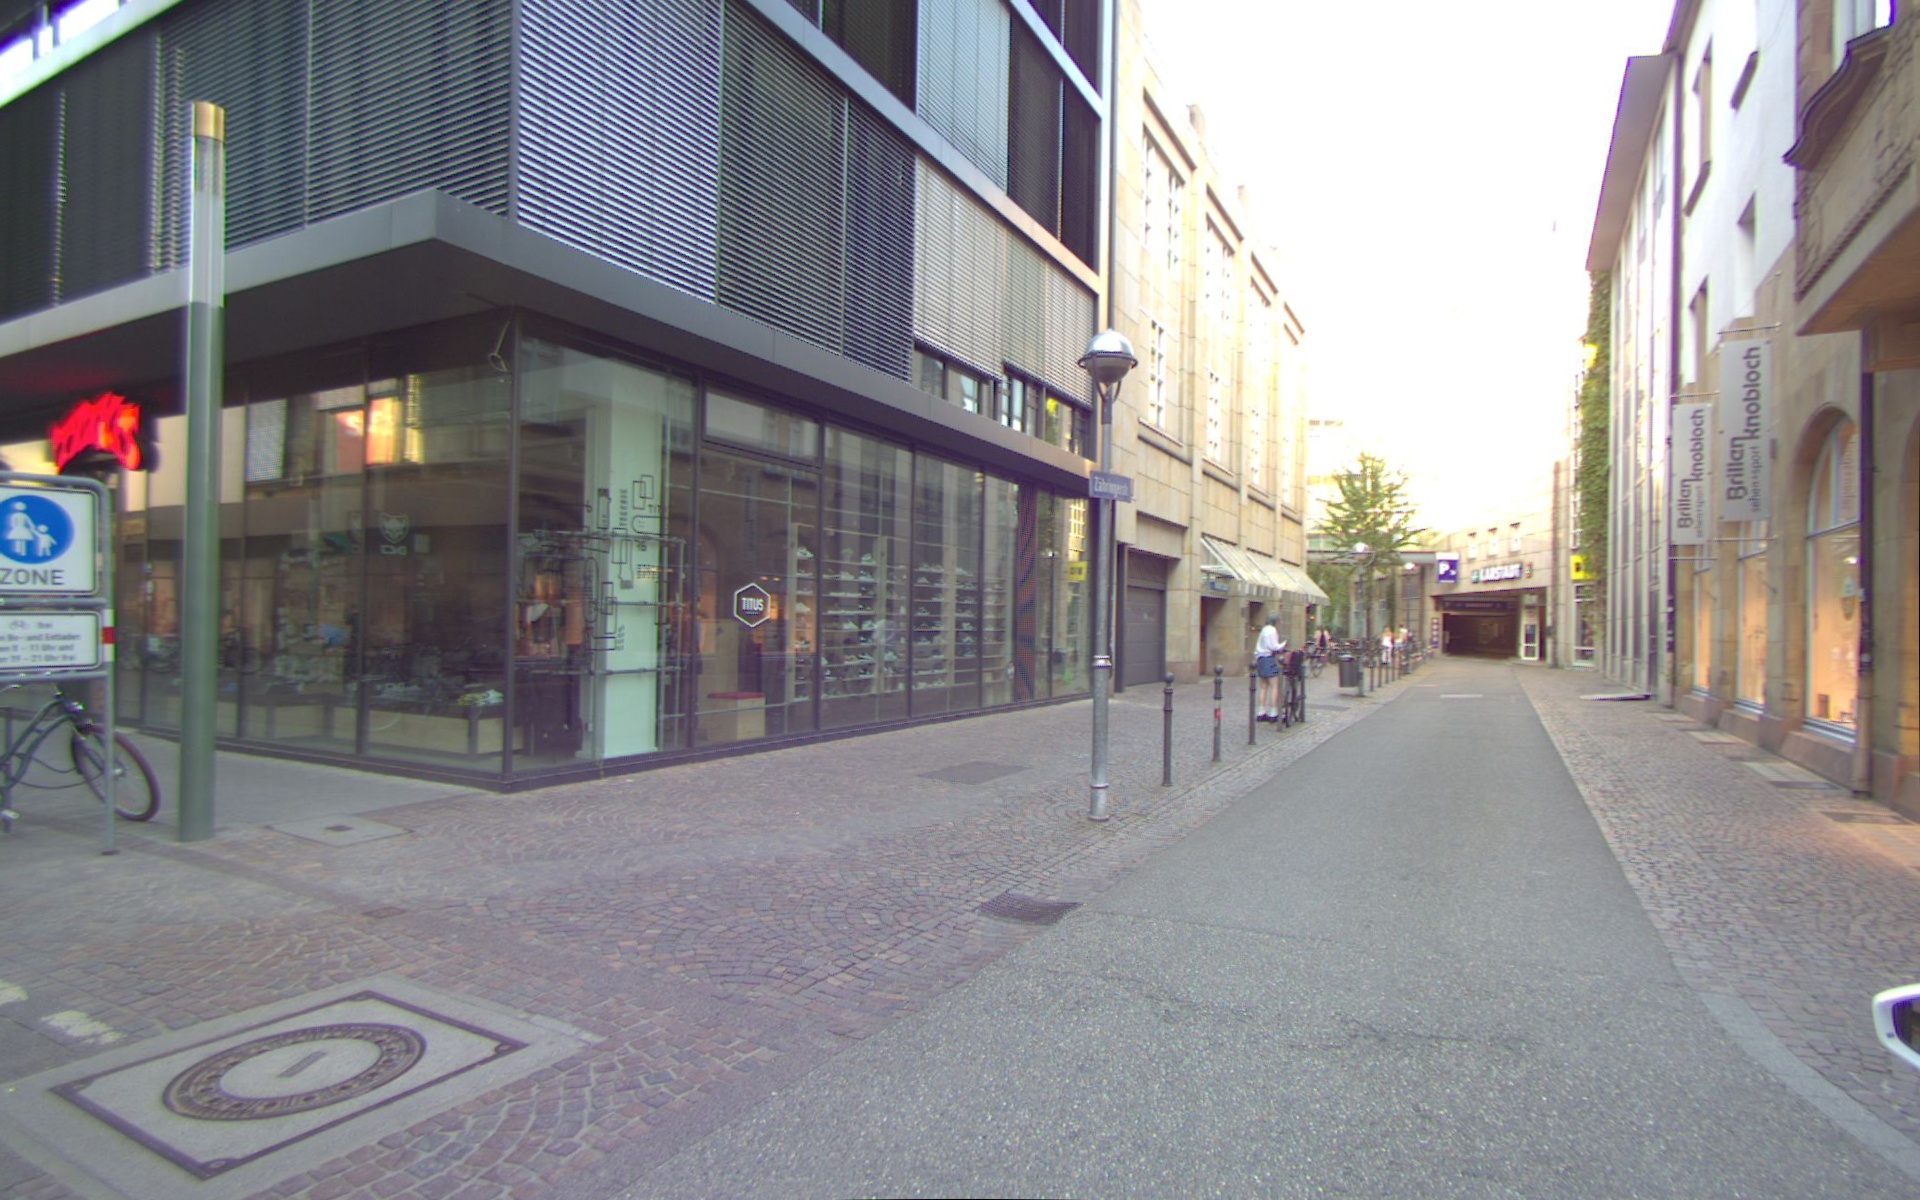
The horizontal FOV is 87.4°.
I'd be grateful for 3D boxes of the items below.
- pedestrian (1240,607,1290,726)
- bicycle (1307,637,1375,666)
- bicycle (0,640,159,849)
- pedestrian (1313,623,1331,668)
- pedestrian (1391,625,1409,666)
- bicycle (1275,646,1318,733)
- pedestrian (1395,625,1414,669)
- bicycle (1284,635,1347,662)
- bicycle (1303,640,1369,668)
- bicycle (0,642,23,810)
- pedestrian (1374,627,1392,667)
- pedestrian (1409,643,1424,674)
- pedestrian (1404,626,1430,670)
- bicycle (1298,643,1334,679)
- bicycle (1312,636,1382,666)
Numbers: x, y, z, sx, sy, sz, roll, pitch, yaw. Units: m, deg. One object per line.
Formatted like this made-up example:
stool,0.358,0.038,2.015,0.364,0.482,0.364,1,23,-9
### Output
pedestrian,4.835,1.028,15.887,0.599,1.814,0.909,0,-1,27
bicycle,16.907,2.260,44.642,2.710,1.216,0.734,1,-1,10
bicycle,-6.022,0.895,6.159,0.500,1.220,1.668,0,0,28
pedestrian,14.386,1.805,39.926,0.645,1.787,0.617,0,-1,15
pedestrian,17.977,1.844,41.028,0.576,1.625,0.626,1,-1,30
bicycle,5.286,1.360,15.724,0.405,1.248,1.826,0,-1,26
pedestrian,18.630,1.963,42.132,0.621,1.780,0.798,1,-1,29
bicycle,16.969,2.317,47.993,2.710,1.216,0.734,1,-1,10
bicycle,17.086,2.438,45.726,2.710,1.216,0.734,1,-1,10
bicycle,-7.486,0.922,6.572,0.508,1.197,1.900,-1,0,28
pedestrian,17.489,1.946,41.537,0.581,1.625,0.664,1,-1,30
pedestrian,17.988,2.306,39.591,0.459,1.183,0.521,1,-1,30
pedestrian,18.647,1.951,40.987,0.851,1.780,0.798,1,-1,30
bicycle,11.189,1.896,31.535,0.474,1.095,2.235,0,-2,35
bicycle,16.612,2.181,43.141,2.710,1.216,0.734,1,-1,10
